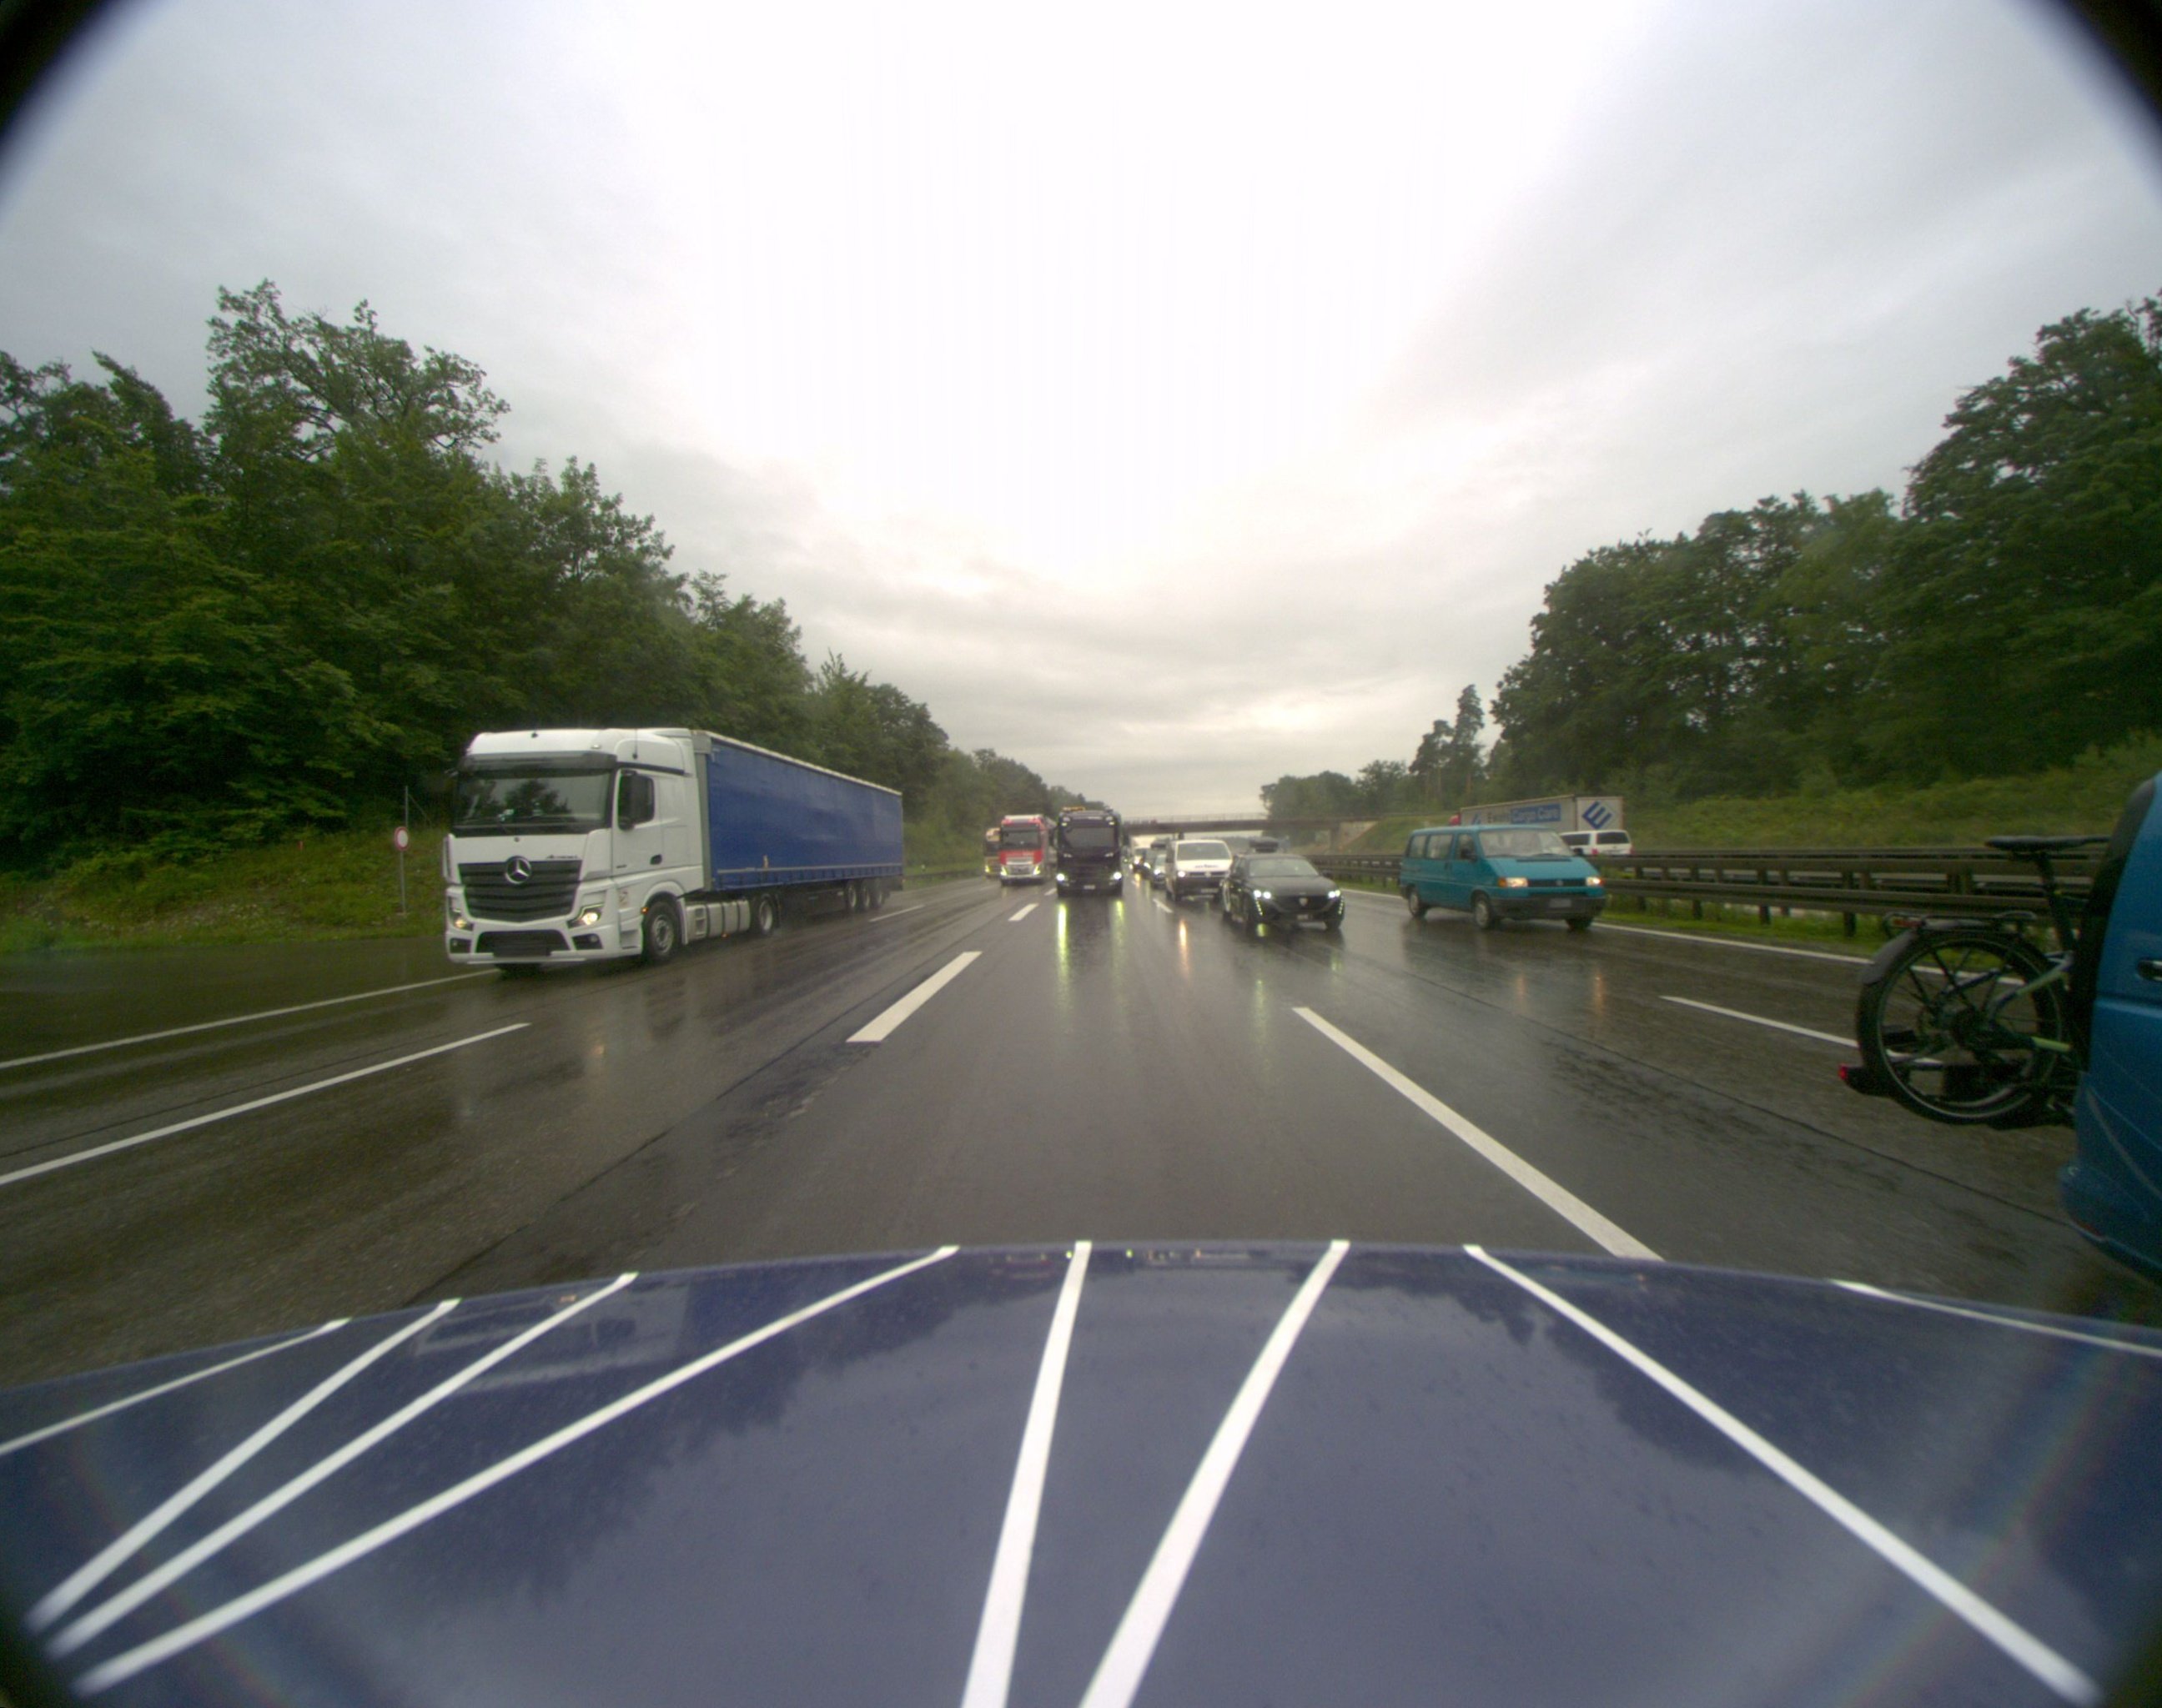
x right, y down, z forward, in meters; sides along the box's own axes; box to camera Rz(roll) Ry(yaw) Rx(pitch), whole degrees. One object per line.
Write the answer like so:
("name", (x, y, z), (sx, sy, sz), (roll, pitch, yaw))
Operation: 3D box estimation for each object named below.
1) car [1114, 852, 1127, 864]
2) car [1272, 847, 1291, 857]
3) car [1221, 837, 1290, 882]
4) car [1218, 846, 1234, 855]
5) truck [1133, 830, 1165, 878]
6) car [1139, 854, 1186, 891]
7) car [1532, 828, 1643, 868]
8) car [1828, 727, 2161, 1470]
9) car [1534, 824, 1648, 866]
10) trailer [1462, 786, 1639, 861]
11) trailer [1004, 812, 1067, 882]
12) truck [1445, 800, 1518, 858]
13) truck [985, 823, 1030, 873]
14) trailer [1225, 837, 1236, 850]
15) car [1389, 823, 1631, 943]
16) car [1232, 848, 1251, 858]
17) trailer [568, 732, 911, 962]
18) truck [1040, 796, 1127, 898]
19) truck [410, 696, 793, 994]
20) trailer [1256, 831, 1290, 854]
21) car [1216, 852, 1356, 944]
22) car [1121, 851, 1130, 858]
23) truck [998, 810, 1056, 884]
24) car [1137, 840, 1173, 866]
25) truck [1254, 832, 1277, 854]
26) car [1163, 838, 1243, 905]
("car", (6.862, 0.648, 131.921), (1.998, 2.002, 4.000), (-2, 0, 2))
("car", (28.219, -0.258, 106.893), (1.705, 1.297, 3.757), (-2, 0, 2))
("car", (7.669, 0.223, 33.919), (1.982, 1.814, 4.606), (-2, 1, 0))
("car", (26.237, -0.625, 137.763), (1.999, 1.498, 4.706), (-1, 0, -1))
("truck", (5.930, -0.013, 67.038), (2.520, 3.941, 6.996), (-2, 0, 3))
("car", (3.619, 0.782, 34.454), (1.850, 1.496, 4.467), (-2, 0, 4))
("car", (24.318, -0.285, 36.764), (1.998, 1.760, 5.039), (-1, 0, 0))
("car", (3.828, 0.592, 0.254), (2.275, 1.900, 5.016), (-2, 0, 2))
("car", (24.478, -0.412, 36.756), (1.982, 1.814, 5.222), (-2, 1, 0))
("trailer", (28.277, -1.676, 47.129), (2.726, 3.931, 13.960), (-1, 0, 2))
("trailer", (-2.743, -0.482, 50.891), (2.607, 3.934, 14.582), (-2, 0, 2))
("truck", (28.469, -1.735, 54.227), (2.710, 3.931, 4.891), (-1, 1, 1))
("truck", (-6.185, -0.516, 65.364), (2.608, 3.934, 9.939), (-2, 1, 1))
("trailer", (45.355, -3.114, 230.730), (2.688, 3.795, 9.011), (-2, 0, 8))
("car", (7.835, 0.443, 14.541), (1.915, 1.852, 4.758), (-2, 1, 0))
("car", (24.490, -0.172, 116.040), (1.998, 1.498, 4.708), (-1, 0, 3))
("trailer", (-7.621, -0.176, 20.390), (2.560, 3.990, 13.714), (-2, 0, 1))
("truck", (0.429, -0.318, 32.459), (2.879, 3.528, 10.913), (-2, 1, 4))
("truck", (-7.791, -0.136, 13.546), (2.608, 3.991, 6.012), (-3, 1, 2))
("trailer", (33.694, -1.958, 133.922), (3.031, 3.795, 13.563), (-2, 0, 3))
("car", (3.982, 0.760, 15.513), (1.850, 1.496, 4.467), (-3, 1, 4))
("car", (9.812, 0.054, 168.105), (1.864, 1.554, 4.436), (-2, 1, 2))
("truck", (-3.028, -0.403, 44.024), (2.608, 3.934, 5.600), (-2, 1, 2))
("car", (4.679, -0.074, 48.779), (1.994, 1.551, 4.768), (-2, 0, 3))
("truck", (34.081, -2.010, 140.572), (3.027, 3.795, 6.265), (-2, 0, 3))
("car", (3.777, 0.508, 24.272), (1.994, 1.869, 4.768), (-2, 0, 4))
